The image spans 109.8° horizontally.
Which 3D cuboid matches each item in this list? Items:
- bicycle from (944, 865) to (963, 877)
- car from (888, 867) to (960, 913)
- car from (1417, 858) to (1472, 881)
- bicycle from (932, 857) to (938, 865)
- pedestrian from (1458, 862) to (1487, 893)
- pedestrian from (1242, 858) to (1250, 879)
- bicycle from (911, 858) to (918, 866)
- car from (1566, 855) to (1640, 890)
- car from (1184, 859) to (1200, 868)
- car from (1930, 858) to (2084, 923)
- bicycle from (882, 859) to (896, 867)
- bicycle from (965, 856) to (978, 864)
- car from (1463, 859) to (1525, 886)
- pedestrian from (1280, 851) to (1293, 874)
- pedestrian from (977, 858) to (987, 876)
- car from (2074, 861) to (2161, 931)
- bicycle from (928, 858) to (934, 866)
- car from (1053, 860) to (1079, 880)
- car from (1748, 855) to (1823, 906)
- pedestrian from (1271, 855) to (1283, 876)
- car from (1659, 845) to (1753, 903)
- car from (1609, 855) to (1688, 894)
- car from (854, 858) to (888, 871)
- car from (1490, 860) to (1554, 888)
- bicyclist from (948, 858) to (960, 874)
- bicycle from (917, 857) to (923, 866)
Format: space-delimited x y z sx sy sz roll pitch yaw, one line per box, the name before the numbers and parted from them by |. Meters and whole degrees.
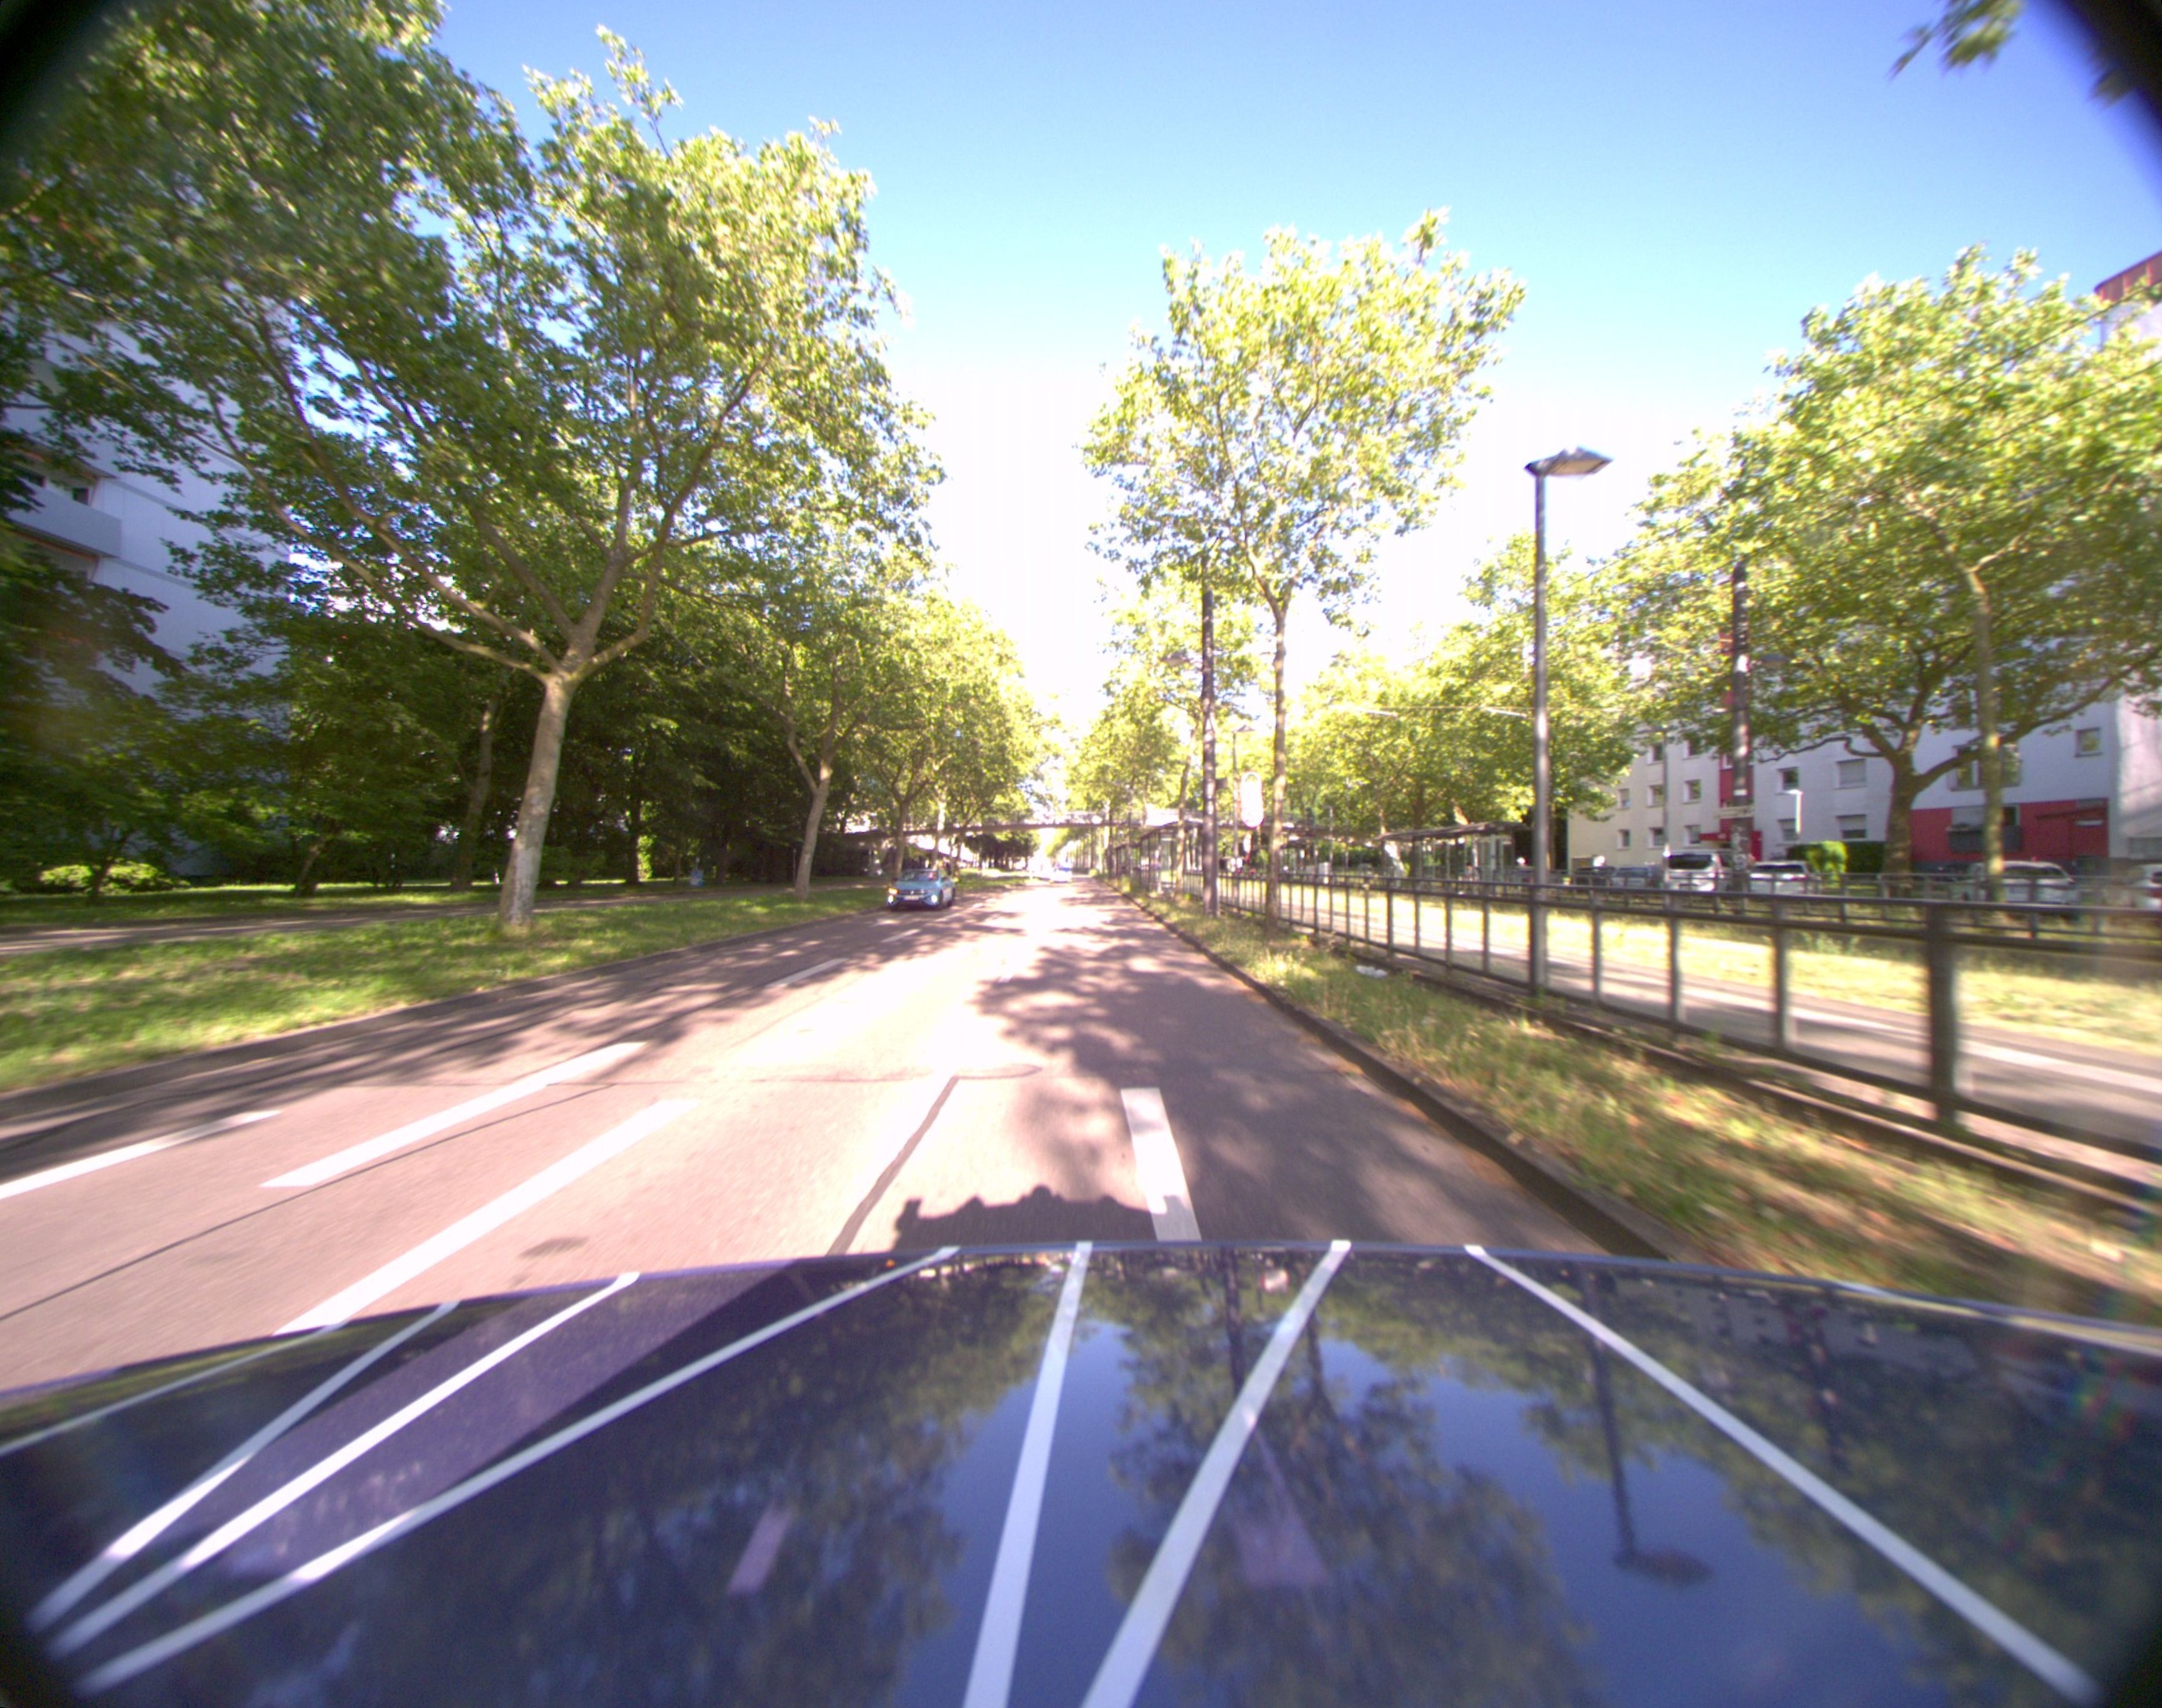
bicycle | -13.429 1.779 80.119 1.831 1.140 0.817 2 -1 35
car | -5.687 1.265 27.977 1.780 1.474 4.100 -1 -1 0
car | 24.897 1.064 52.000 4.208 1.420 1.696 -2 -1 -39
bicycle | -23.483 1.134 122.060 0.577 1.246 1.805 -2 0 -2
pedestrian | 14.762 0.863 28.681 0.696 1.121 0.662 2 1 0
pedestrian | 14.062 1.223 64.792 0.504 1.760 0.483 -2 1 -41
bicycle | -23.956 1.147 109.370 0.577 1.246 1.805 -2 0 -2
car | 25.098 0.851 36.448 4.509 1.489 1.895 -2 -1 -42
car | 19.944 1.680 136.353 1.903 1.480 4.626 -4 0 -2
car | 24.752 0.913 20.499 1.895 1.495 4.509 -2 -1 41
bicycle | -27.159 1.237 107.525 1.806 1.109 0.710 0 2 -8
bicycle | -17.155 0.914 118.996 2.074 1.151 0.561 1 0 -12
car | 24.622 1.101 45.259 4.208 1.420 1.696 -2 -1 -39
pedestrian | 14.892 0.623 55.143 0.731 1.625 0.715 0 1 -3
pedestrian | -9.832 1.257 75.571 0.658 1.766 0.741 -1 -1 37
car | 24.846 0.920 17.518 1.571 1.424 4.068 -2 -1 41
bicycle | -23.092 1.257 117.160 0.577 1.246 1.805 -2 0 -2
car | -1.213 1.316 64.840 1.897 1.623 4.502 -2 0 2
car | 24.788 0.880 26.696 4.068 1.601 1.685 -1 -1 -44
pedestrian | 14.325 0.829 55.545 0.644 1.505 0.683 1 0 -13
car | 24.373 0.744 29.571 4.508 2.051 1.895 -2 -1 -39
car | 24.621 0.881 32.905 4.509 1.489 1.895 -2 -1 -42
car | -25.778 1.252 93.321 3.739 1.486 1.709 -1 -2 -4
car | 24.681 1.111 42.469 4.208 1.420 1.696 -2 -1 -39
bicyclist | -13.411 1.304 80.126 0.954 1.622 0.817 2 -1 36
bicycle | -24.438 1.135 115.427 0.577 1.246 1.805 -2 0 -2
